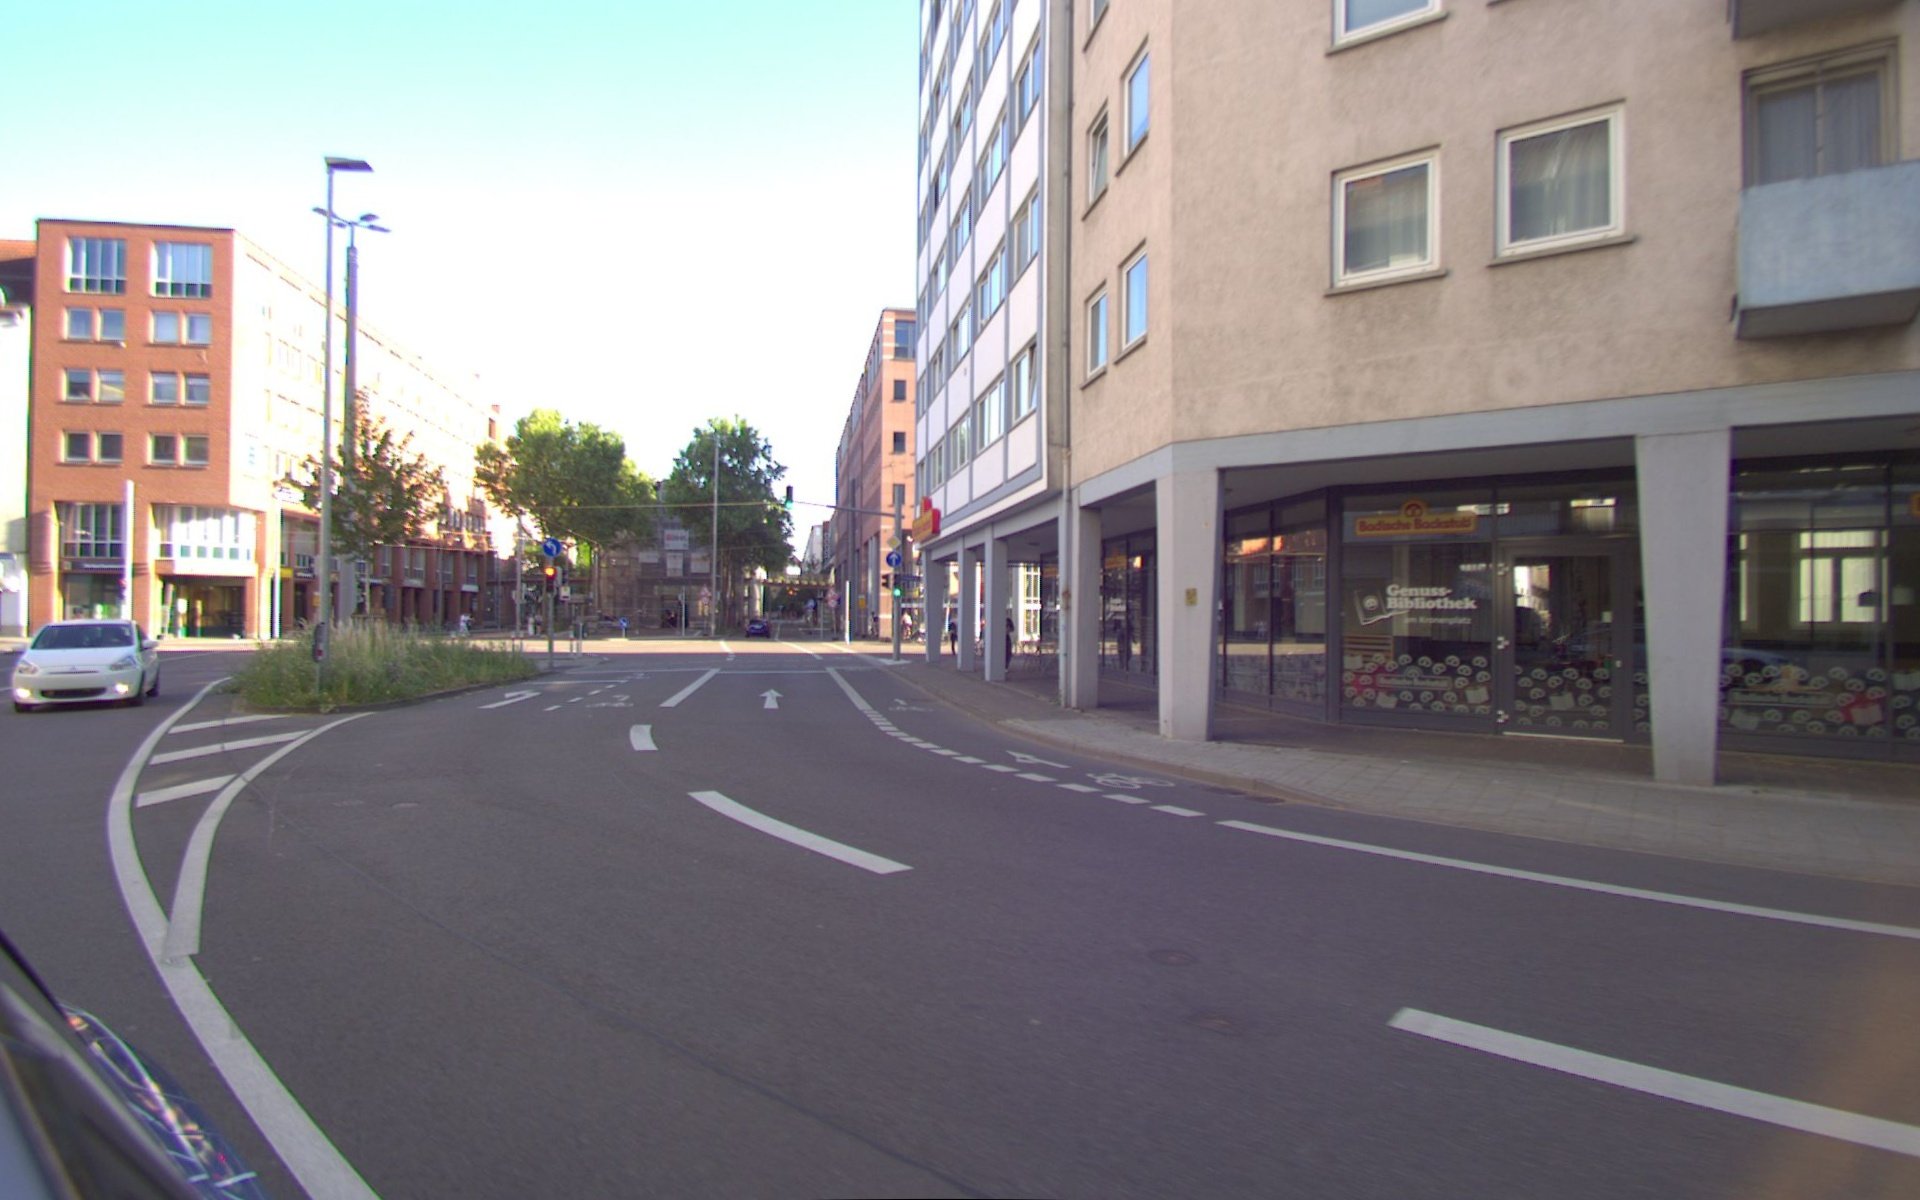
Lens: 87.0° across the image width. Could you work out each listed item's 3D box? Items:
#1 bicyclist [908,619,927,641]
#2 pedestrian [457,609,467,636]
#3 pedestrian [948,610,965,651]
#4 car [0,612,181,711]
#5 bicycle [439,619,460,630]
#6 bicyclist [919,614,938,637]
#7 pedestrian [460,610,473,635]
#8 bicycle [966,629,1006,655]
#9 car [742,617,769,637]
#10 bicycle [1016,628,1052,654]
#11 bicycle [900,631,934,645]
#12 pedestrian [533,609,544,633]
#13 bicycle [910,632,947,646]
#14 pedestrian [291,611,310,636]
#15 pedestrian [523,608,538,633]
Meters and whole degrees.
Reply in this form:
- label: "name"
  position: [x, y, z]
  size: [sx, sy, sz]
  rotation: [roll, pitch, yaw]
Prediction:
- label: "bicyclist"
  position: [-2.541, 1.786, 60.438]
  size: [0.941, 1.322, 0.619]
  rotation: [0, -1, -32]
- label: "pedestrian"
  position: [-33.635, 1.495, 68.356]
  size: [0.469, 1.806, 0.542]
  rotation: [0, -1, -10]
- label: "pedestrian"
  position: [-0.153, 1.323, 44.146]
  size: [0.620, 1.805, 0.786]
  rotation: [0, -1, -9]
- label: "car"
  position: [-15.034, 0.963, 17.682]
  size: [1.779, 1.512, 4.213]
  rotation: [0, -1, -31]
- label: "bicycle"
  position: [-46.694, 2.212, 92.559]
  size: [1.591, 0.962, 0.556]
  rotation: [3, -1, -8]
- label: "bicyclist"
  position: [-1.815, 1.464, 58.339]
  size: [1.005, 1.350, 0.781]
  rotation: [0, -1, -12]
- label: "pedestrian"
  position: [-33.716, 1.546, 69.178]
  size: [0.625, 1.738, 0.631]
  rotation: [0, -1, -10]
- label: "bicycle"
  position: [1.081, 1.765, 42.496]
  size: [0.586, 1.061, 2.011]
  rotation: [1, -2, -35]
- label: "car"
  position: [-15.239, 1.978, 75.328]
  size: [1.808, 1.396, 4.608]
  rotation: [1, 0, -13]
- label: "bicycle"
  position: [3.158, 1.737, 43.441]
  size: [0.586, 1.061, 2.012]
  rotation: [1, -1, -28]
- label: "bicycle"
  position: [-2.557, 2.269, 60.418]
  size: [1.985, 0.814, 0.619]
  rotation: [0, -1, -32]
- label: "pedestrian"
  position: [-29.951, 1.492, 71.923]
  size: [0.559, 1.692, 0.532]
  rotation: [0, -1, -8]
- label: "bicycle"
  position: [-1.827, 2.239, 58.325]
  size: [1.986, 0.814, 0.781]
  rotation: [0, -1, -12]
- label: "pedestrian"
  position: [-43.326, 1.524, 66.479]
  size: [0.754, 1.602, 0.834]
  rotation: [-1, -1, 41]
- label: "pedestrian"
  position: [-30.191, 1.466, 71.125]
  size: [0.767, 1.747, 0.850]
  rotation: [0, -1, -13]
